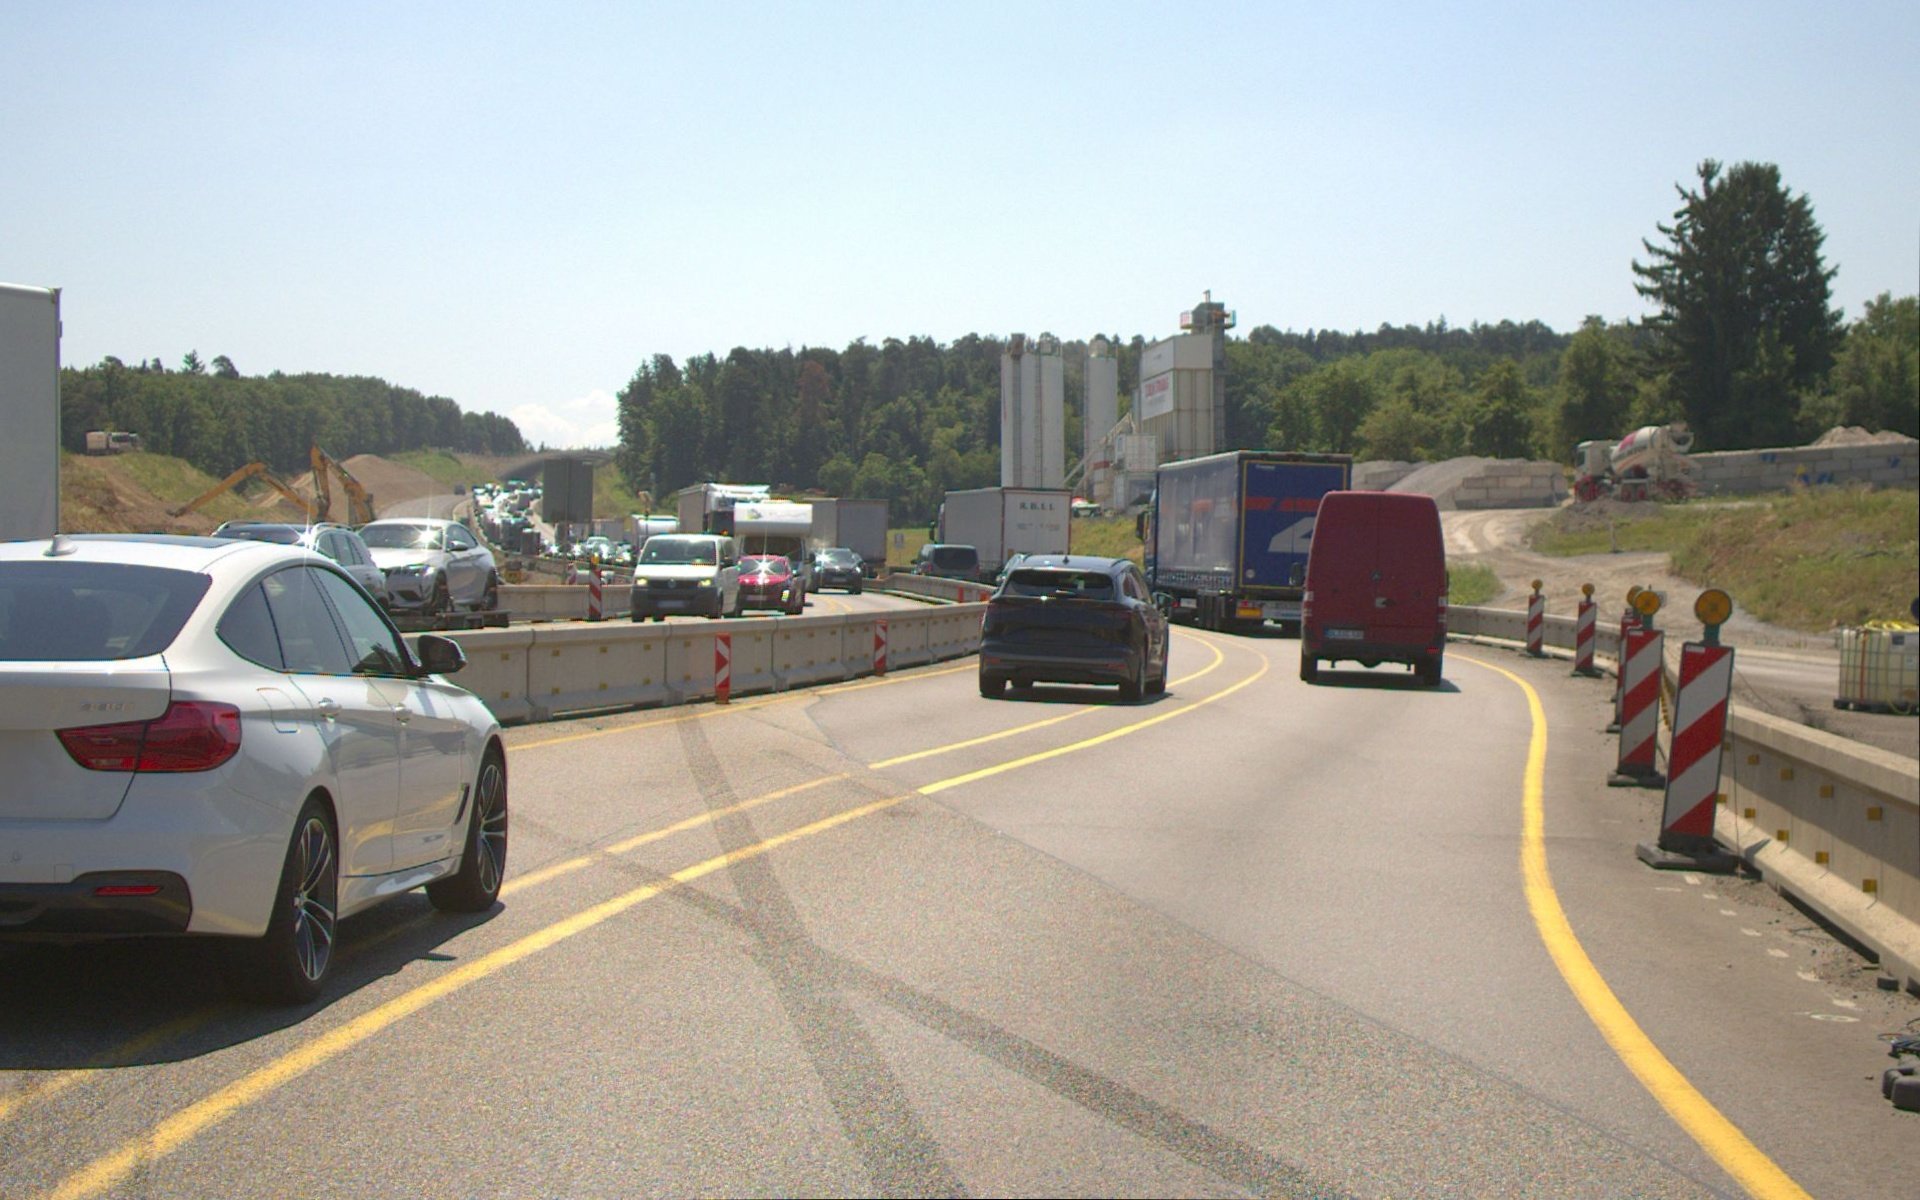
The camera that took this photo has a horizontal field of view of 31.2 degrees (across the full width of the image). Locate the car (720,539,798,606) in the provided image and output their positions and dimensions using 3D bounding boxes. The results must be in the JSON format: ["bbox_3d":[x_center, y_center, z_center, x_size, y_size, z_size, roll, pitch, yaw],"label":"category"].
[{"bbox_3d":[-5.047,-0.720,86.741,1.720,1.622,4.336,0,1,0],"label":"car"}]

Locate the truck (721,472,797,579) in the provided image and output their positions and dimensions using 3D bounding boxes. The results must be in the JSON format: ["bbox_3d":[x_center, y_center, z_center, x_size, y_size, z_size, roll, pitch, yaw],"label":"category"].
[{"bbox_3d":[-7.796,-2.897,134.010,2.701,4.048,5.501,0,1,-1],"label":"truck"}]

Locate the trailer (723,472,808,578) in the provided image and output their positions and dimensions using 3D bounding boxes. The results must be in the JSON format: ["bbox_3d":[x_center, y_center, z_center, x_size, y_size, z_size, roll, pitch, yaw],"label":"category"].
[{"bbox_3d":[-7.867,-3.052,140.648,2.760,4.100,13.978,0,1,0],"label":"trailer"}]

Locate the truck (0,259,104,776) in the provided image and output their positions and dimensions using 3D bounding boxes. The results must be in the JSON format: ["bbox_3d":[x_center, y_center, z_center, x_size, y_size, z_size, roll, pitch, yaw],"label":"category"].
[{"bbox_3d":[-7.762,-0.520,20.900,2.580,3.369,6.926,1,1,8],"label":"truck"}]

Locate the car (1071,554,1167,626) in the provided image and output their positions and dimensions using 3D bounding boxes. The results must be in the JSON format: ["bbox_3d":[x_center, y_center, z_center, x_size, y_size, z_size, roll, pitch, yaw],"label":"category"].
[{"bbox_3d":[3.651,-0.247,79.614,1.801,1.574,4.001,0,1,-3],"label":"car"}]

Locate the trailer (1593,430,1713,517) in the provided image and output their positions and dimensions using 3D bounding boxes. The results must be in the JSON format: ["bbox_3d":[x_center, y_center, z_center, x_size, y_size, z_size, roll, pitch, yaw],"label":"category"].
[{"bbox_3d":[33.680,-6.106,167.222,2.755,4.100,6.748,0,1,-18],"label":"trailer"}]

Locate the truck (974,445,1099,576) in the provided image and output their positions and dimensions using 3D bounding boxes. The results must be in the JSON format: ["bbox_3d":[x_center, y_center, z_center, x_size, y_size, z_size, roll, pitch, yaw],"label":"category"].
[{"bbox_3d":[2.755,-3.291,127.862,3.683,4.675,9.754,0,1,-4],"label":"truck"}]

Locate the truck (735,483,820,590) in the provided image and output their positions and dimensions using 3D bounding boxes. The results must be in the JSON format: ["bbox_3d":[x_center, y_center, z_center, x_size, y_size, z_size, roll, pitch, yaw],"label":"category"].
[{"bbox_3d":[-5.491,-1.895,102.942,2.441,3.061,7.249,0,1,-4],"label":"truck"}]

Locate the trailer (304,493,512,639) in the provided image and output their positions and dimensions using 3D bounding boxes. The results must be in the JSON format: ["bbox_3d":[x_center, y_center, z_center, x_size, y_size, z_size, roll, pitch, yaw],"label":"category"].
[{"bbox_3d":[-8.010,-0.516,50.270,1.866,2.015,4.435,1,1,7],"label":"trailer"}]

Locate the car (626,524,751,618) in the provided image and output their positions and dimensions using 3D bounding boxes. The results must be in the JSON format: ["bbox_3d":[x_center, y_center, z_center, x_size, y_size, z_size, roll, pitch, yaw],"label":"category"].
[{"bbox_3d":[-5.798,-0.653,74.024,1.866,1.947,4.891,1,1,5],"label":"car"}]

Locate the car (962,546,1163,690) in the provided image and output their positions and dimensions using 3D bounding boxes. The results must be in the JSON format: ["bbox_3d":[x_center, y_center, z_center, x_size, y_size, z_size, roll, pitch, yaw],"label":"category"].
[{"bbox_3d":[1.223,0.165,39.224,1.796,1.529,3.930,1,1,9],"label":"car"}]

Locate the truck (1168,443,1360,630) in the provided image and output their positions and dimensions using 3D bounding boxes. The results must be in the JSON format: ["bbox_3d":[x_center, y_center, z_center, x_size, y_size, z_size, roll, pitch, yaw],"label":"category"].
[{"bbox_3d":[7.017,-1.488,80.612,3.015,4.138,8.274,0,1,-5],"label":"truck"}]

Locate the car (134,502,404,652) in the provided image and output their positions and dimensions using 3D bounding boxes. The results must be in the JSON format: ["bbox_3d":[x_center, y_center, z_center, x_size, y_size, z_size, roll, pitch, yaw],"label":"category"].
[{"bbox_3d":[-8.824,-0.327,44.350,1.866,1.800,4.905,-1,1,8],"label":"car"}]

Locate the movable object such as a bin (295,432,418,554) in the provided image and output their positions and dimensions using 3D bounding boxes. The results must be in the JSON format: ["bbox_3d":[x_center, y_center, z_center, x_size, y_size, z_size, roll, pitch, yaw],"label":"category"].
[{"bbox_3d":[-38.852,-6.875,221.458,7.635,7.687,3.446,0,1,-7],"label":"movable object such as a bin"}]

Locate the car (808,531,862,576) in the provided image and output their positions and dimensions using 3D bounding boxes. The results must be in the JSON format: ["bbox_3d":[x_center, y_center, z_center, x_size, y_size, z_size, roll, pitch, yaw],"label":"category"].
[{"bbox_3d":[-4.478,-1.688,123.733,1.660,1.600,4.396,1,1,2],"label":"car"}]

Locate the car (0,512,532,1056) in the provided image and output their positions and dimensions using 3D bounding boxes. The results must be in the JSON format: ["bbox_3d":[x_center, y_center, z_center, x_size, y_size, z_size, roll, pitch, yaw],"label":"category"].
[{"bbox_3d":[-2.878,0.471,12.465,1.795,1.529,5.073,2,1,2],"label":"car"}]

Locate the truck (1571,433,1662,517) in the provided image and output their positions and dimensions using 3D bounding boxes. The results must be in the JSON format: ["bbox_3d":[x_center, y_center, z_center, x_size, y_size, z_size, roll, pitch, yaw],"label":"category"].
[{"bbox_3d":[32.573,-6.197,170.731,2.744,4.081,4.102,0,1,-18],"label":"truck"}]

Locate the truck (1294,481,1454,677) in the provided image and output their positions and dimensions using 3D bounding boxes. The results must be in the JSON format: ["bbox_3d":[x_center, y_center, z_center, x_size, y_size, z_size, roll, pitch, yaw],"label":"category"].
[{"bbox_3d":[5.931,-0.342,49.655,2.112,2.624,6.483,1,1,6],"label":"truck"}]
